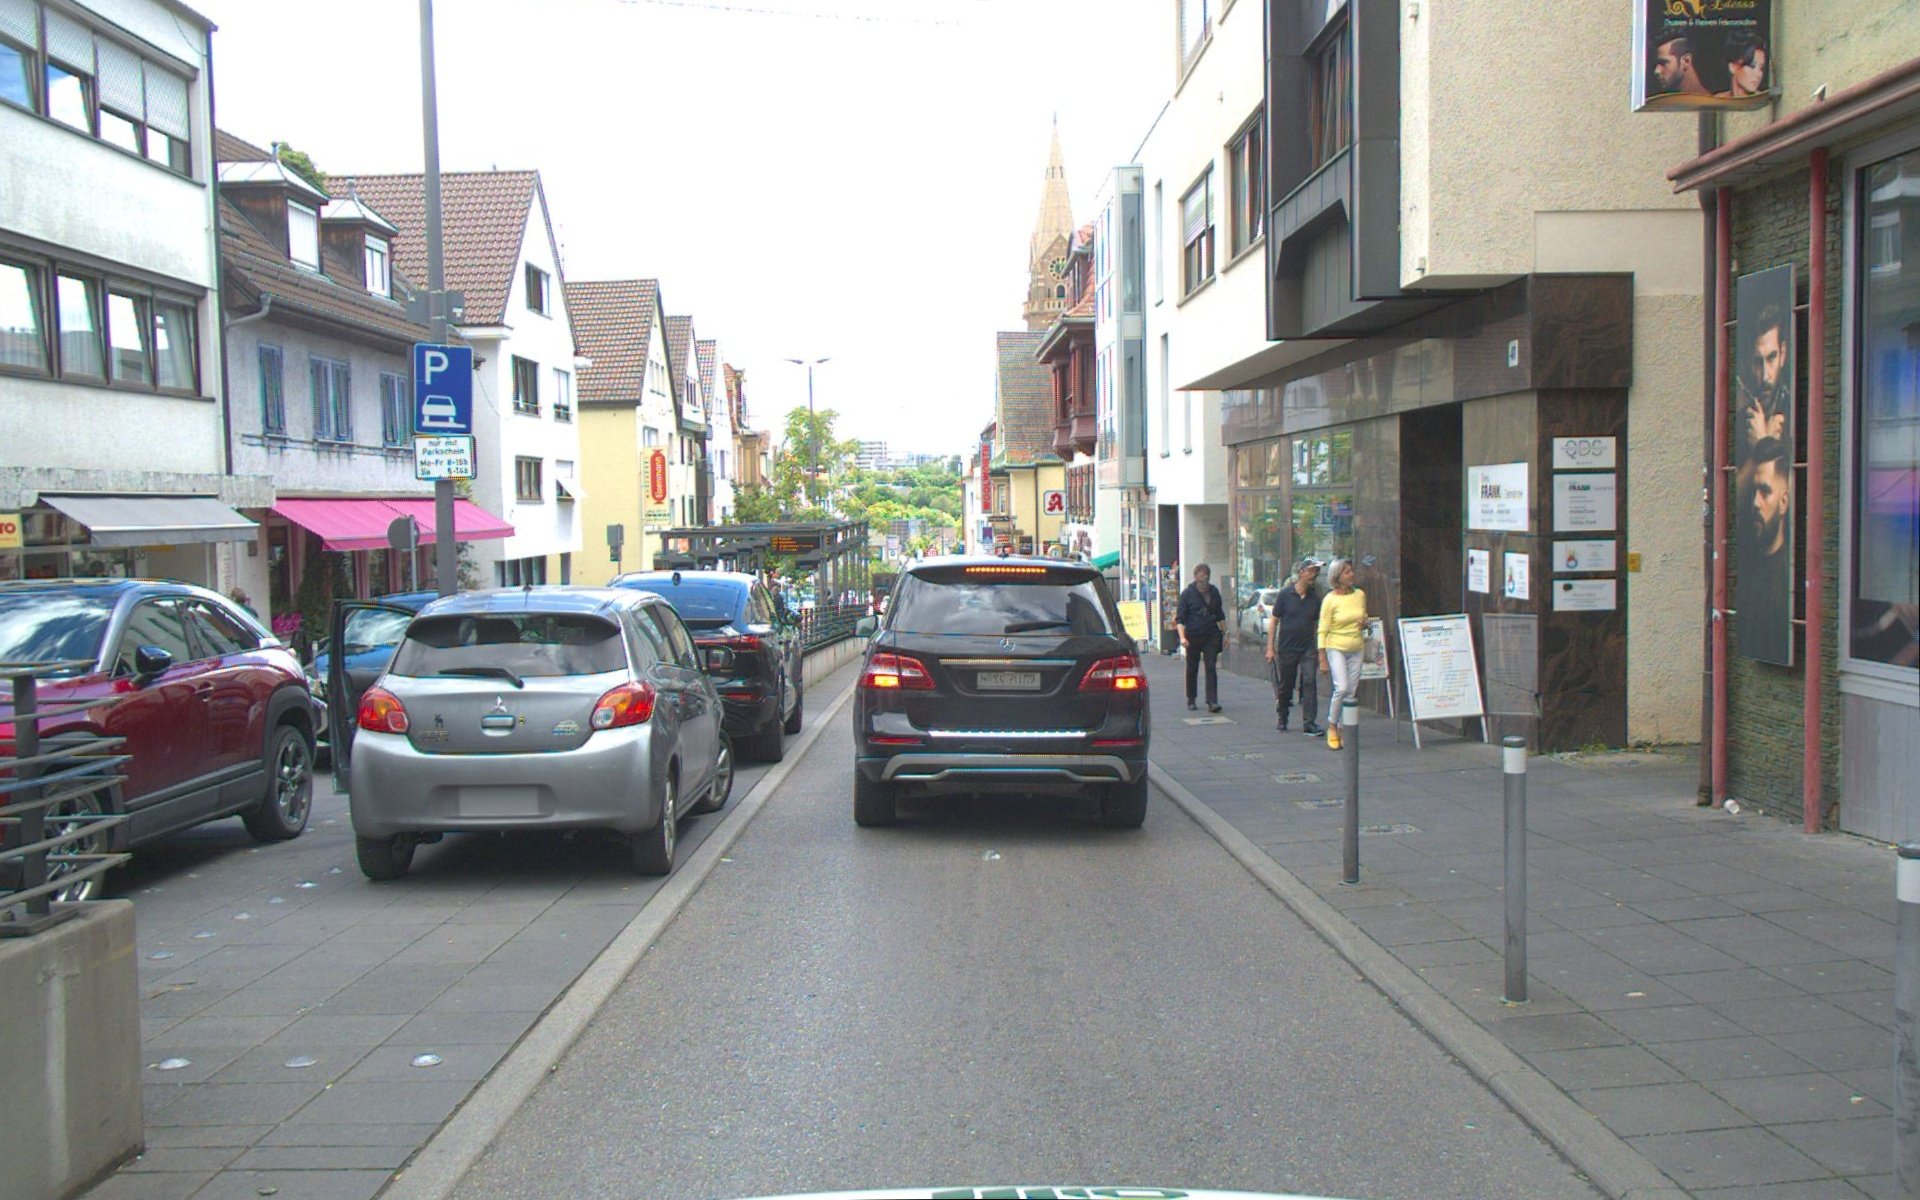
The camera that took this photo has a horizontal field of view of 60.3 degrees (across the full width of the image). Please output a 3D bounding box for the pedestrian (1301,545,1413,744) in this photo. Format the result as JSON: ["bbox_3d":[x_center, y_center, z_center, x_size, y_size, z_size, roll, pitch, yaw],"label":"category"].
[{"bbox_3d":[3.465,0.376,14.503,0.697,1.659,0.835,-3,0,-1],"label":"pedestrian"}]

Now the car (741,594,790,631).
[{"bbox_3d":[-8.355,0.516,71.380,1.655,1.516,3.978,1,0,-1],"label":"car"}]

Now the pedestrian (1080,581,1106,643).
[{"bbox_3d":[3.714,0.336,46.245,0.562,1.718,0.565,-2,0,-7],"label":"pedestrian"}]

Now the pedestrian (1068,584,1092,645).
[{"bbox_3d":[3.414,0.399,47.152,0.562,1.718,0.565,1,0,-7],"label":"pedestrian"}]

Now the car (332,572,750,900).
[{"bbox_3d":[-2.243,0.652,9.782,1.587,1.559,3.669,1,0,-1],"label":"car"}]

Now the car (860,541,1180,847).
[{"bbox_3d":[0.264,0.555,11.708,1.862,1.777,3.998,1,0,-3],"label":"car"}]

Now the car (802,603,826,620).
[{"bbox_3d":[-9.781,0.782,111.177,1.360,1.089,3.112,-2,0,-1],"label":"car"}]

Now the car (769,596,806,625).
[{"bbox_3d":[-9.224,0.549,88.629,1.627,1.516,3.747,1,0,-1],"label":"car"}]

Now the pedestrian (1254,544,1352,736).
[{"bbox_3d":[3.316,0.378,16.051,0.697,1.784,0.785,-3,0,-1],"label":"pedestrian"}]

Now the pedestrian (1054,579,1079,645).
[{"bbox_3d":[2.886,0.326,44.860,0.532,1.756,0.527,-1,0,-7],"label":"pedestrian"}]

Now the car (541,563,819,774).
[{"bbox_3d":[-2.420,0.543,15.382,1.917,1.668,4.313,1,0,-1],"label":"car"}]

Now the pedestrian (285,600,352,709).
[{"bbox_3d":[-9.452,0.789,24.402,0.651,1.566,0.946,0,0,-3],"label":"pedestrian"}]

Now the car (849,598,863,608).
[{"bbox_3d":[-11.654,0.347,184.835,1.360,1.089,3.112,-2,0,-1],"label":"car"}]

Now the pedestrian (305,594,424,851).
[{"bbox_3d":[-3.504,0.704,9.758,0.457,1.456,0.492,-3,0,-1],"label":"pedestrian"}]

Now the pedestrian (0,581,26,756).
[{"bbox_3d":[-9.773,0.683,16.406,0.634,1.718,0.663,-1,1,39],"label":"pedestrian"}]

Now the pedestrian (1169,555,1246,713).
[{"bbox_3d":[2.896,0.393,19.413,0.697,1.784,0.787,-3,0,-1],"label":"pedestrian"}]

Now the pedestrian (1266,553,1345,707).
[{"bbox_3d":[4.007,0.345,19.218,0.650,1.718,0.542,-4,0,-7],"label":"pedestrian"}]

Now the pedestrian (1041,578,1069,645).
[{"bbox_3d":[2.443,0.298,42.721,0.609,1.718,0.565,1,0,-7],"label":"pedestrian"}]

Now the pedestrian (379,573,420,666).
[{"bbox_3d":[-10.498,0.367,30.991,0.566,1.718,0.576,1,0,-2],"label":"pedestrian"}]

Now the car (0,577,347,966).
[{"bbox_3d":[-4.761,0.681,8.514,1.704,1.570,4.192,1,0,-1],"label":"car"}]

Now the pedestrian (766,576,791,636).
[{"bbox_3d":[-5.262,0.179,47.954,0.599,1.718,0.563,1,0,7],"label":"pedestrian"}]

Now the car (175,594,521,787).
[{"bbox_3d":[-5.311,0.708,14.918,1.703,1.501,3.883,1,0,-1],"label":"car"}]
